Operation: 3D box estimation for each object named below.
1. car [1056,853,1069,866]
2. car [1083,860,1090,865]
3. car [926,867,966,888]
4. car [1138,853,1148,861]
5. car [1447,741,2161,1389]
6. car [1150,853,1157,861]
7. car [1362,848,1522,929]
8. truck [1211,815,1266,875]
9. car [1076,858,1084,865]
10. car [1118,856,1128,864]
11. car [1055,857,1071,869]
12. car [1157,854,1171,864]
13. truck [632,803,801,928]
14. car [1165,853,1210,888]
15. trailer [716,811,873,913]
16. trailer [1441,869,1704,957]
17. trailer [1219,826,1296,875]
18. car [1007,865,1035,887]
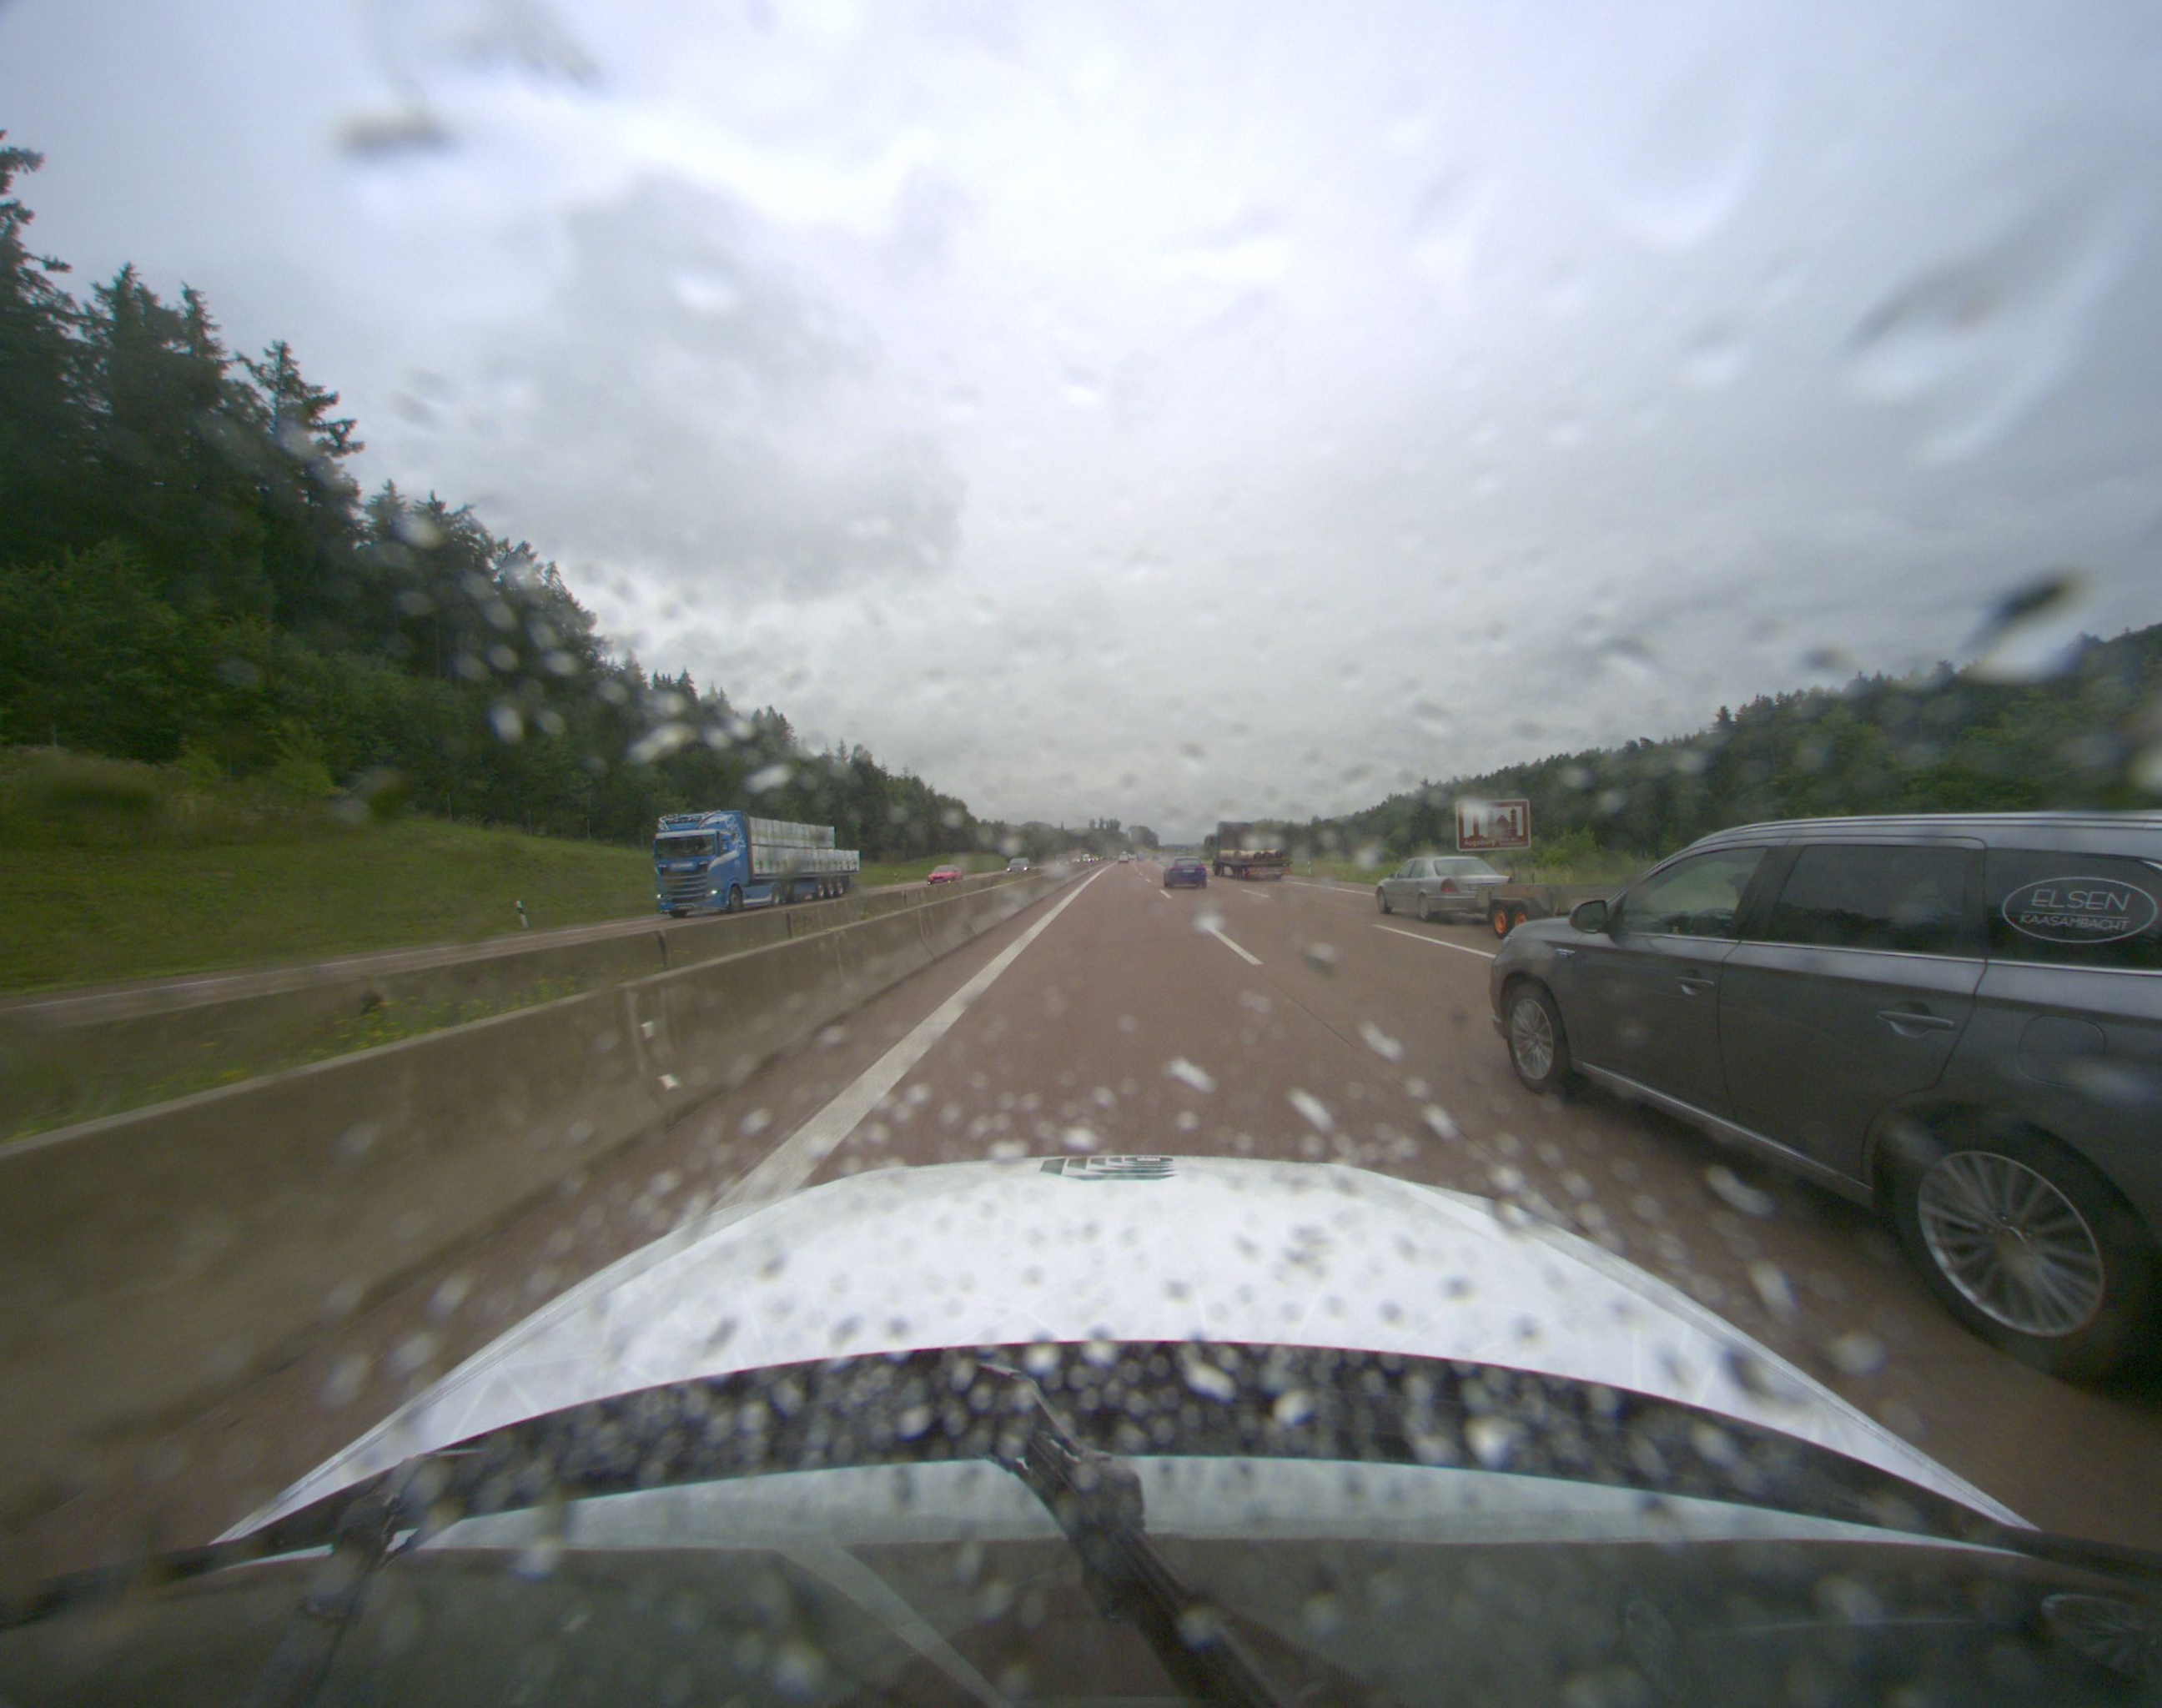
[{"bbox_3d":[-3.562,1.080,157.631,2.094,2.279,5.398,0,-1,2],"label":"car"},{"bbox_3d":[1.565,2.429,239.954,1.643,1.389,4.813,-4,0,3],"label":"car"},{"bbox_3d":[-9.310,1.622,56.543,1.812,1.369,5.116,0,-1,2],"label":"car"},{"bbox_3d":[15.664,0.778,205.138,2.313,1.750,4.880,0,-1,3],"label":"car"},{"bbox_3d":[3.703,0.544,3.334,1.986,1.593,5.822,0,-1,2],"label":"car"},{"bbox_3d":[20.302,0.819,228.267,1.985,2.014,4.003,0,-1,3],"label":"car"},{"bbox_3d":[8.163,0.749,18.979,1.691,1.611,4.979,-1,-1,2],"label":"car"},{"bbox_3d":[11.048,-0.507,57.753,2.885,3.965,6.993,0,-1,3],"label":"truck"},{"bbox_3d":[-0.190,1.877,199.733,1.781,1.557,4.869,-3,0,3],"label":"car"},{"bbox_3d":[7.952,1.190,154.614,1.867,1.444,4.877,0,-1,1],"label":"car"},{"bbox_3d":[-2.689,1.378,121.842,1.768,1.856,5.328,0,-1,5],"label":"car"},{"bbox_3d":[14.514,0.886,142.750,2.313,1.750,4.880,0,-1,3],"label":"car"},{"bbox_3d":[-14.624,0.372,33.582,2.953,4.320,7.652,-5,1,2],"label":"truck"},{"bbox_3d":[4.928,0.769,38.078,1.764,1.564,4.149,0,-1,3],"label":"car"},{"bbox_3d":[-14.361,0.307,42.570,2.922,4.275,12.950,-5,0,2],"label":"trailer"},{"bbox_3d":[8.172,0.902,14.166,1.963,1.166,4.642,0,0,3],"label":"trailer"},{"bbox_3d":[10.626,-0.070,50.261,2.869,2.676,11.407,0,-1,3],"label":"trailer"},{"bbox_3d":[-5.104,1.884,70.116,1.812,1.842,6.240,0,-1,2],"label":"car"}]
